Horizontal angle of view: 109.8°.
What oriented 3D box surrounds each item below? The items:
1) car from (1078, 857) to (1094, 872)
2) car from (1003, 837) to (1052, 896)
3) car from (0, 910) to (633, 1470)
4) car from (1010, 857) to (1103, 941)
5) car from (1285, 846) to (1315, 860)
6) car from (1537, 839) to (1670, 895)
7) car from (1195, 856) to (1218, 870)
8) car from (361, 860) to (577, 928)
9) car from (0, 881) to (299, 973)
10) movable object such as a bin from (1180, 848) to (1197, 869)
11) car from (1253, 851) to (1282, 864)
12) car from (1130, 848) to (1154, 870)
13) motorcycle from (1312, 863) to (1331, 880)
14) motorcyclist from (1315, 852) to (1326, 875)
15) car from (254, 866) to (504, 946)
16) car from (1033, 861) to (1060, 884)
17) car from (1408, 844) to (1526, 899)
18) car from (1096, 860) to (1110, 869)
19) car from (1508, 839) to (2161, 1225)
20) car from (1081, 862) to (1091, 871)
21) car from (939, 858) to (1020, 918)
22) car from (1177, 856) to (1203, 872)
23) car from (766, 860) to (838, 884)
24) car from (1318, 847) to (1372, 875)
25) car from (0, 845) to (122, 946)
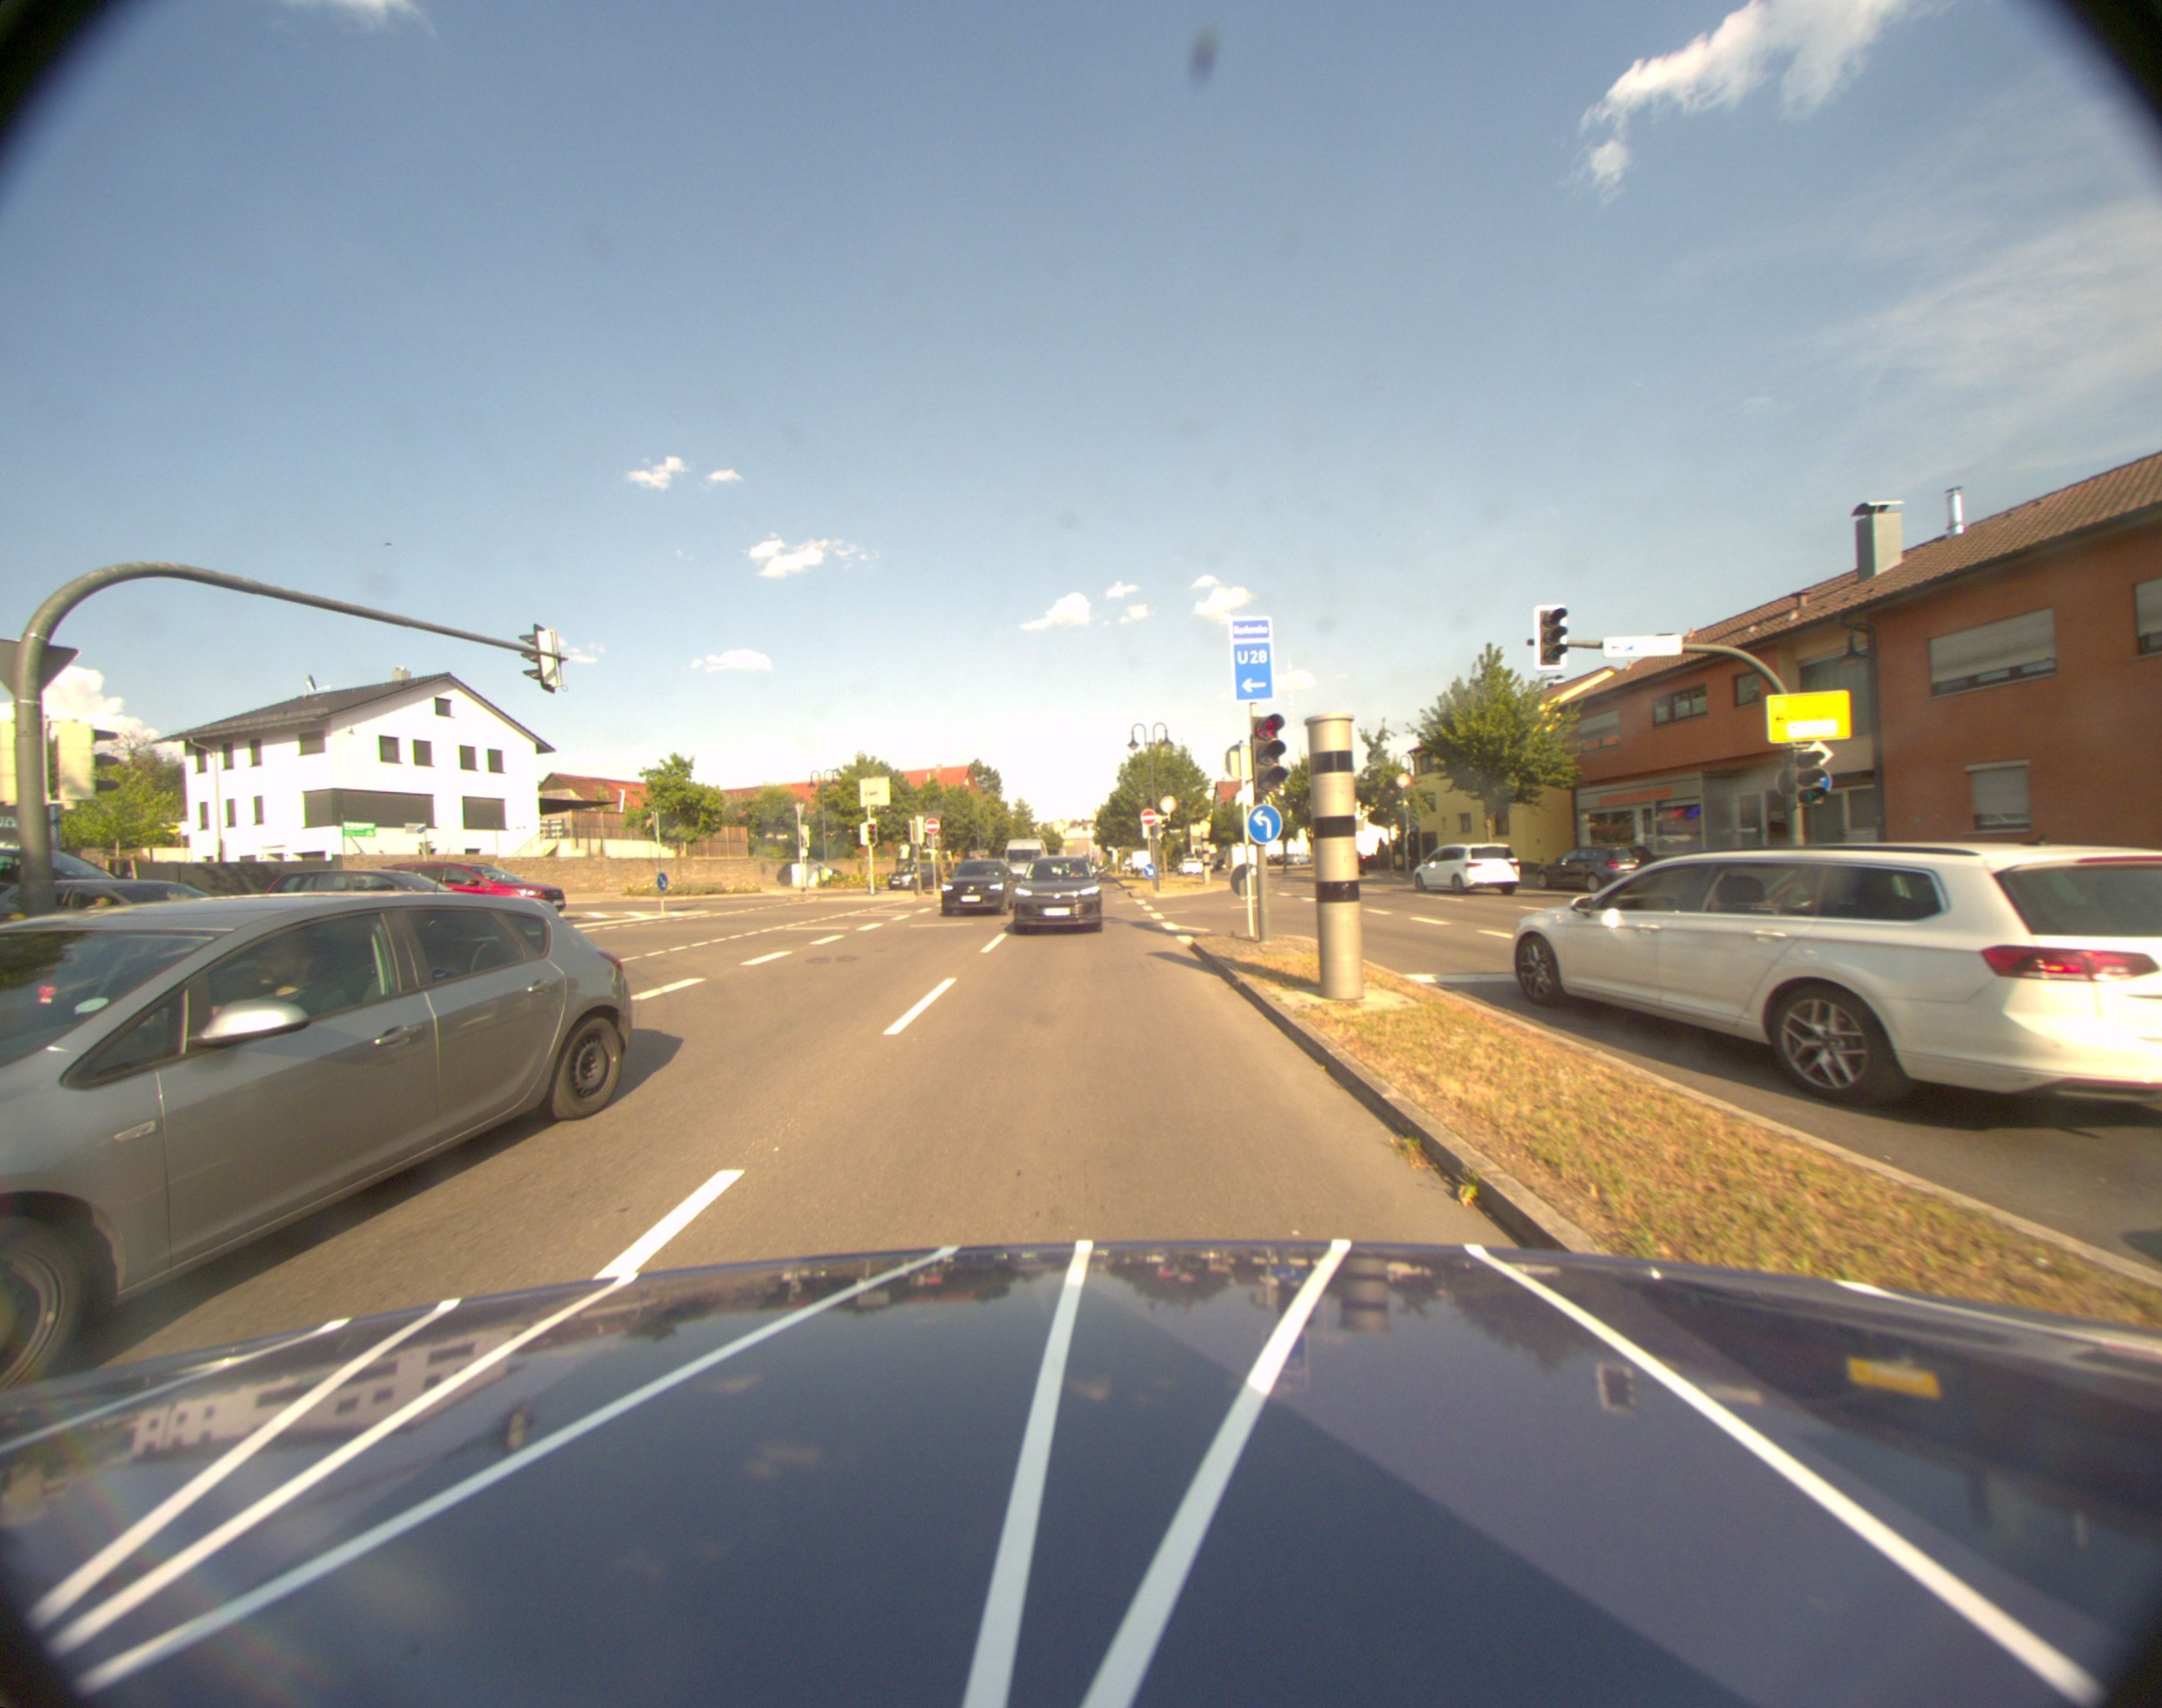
[{"bbox_3d":[0.644,1.383,97.730,1.816,1.860,4.001,-2,0,4],"label":"car"},{"bbox_3d":[-2.587,0.569,38.457,2.040,2.642,6.648,-2,0,-1],"label":"car"},{"bbox_3d":[-3.888,1.064,3.042,1.651,1.414,4.144,0,-1,1],"label":"car"},{"bbox_3d":[-0.450,0.909,16.975,1.768,1.582,4.057,-2,0,1],"label":"car"},{"bbox_3d":[25.495,-0.138,88.587,3.438,1.534,1.617,-1,-1,-38],"label":"car"},{"bbox_3d":[15.891,0.376,23.368,1.595,1.430,3.776,-6,-1,5],"label":"car"},{"bbox_3d":[13.516,0.930,81.819,1.761,1.403,4.000,-2,0,0],"label":"car"},{"bbox_3d":[-16.619,1.054,20.837,4.251,1.616,1.861,-2,0,-5],"label":"car"},{"bbox_3d":[-16.583,1.248,13.473,3.608,1.441,1.626,0,1,-3],"label":"car"},{"bbox_3d":[13.500,0.565,95.625,1.556,2.447,4.978,-1,0,2],"label":"movable object such as a bin"},{"bbox_3d":[22.844,0.416,92.985,3.417,1.616,1.857,0,0,-41],"label":"car"},{"bbox_3d":[7.012,0.574,88.117,2.090,2.461,5.478,-2,0,-2],"label":"car"},{"bbox_3d":[12.785,0.929,40.413,0.413,0.855,1.763,-2,0,0],"label":"motorcycle"},{"bbox_3d":[12.770,0.488,40.448,0.404,1.221,0.461,-2,0,-2],"label":"motorcyclist"},{"bbox_3d":[-15.425,1.109,16.883,3.798,1.533,1.597,-2,0,-8],"label":"car"},{"bbox_3d":[-2.595,1.390,57.873,1.768,1.582,4.057,-2,0,1],"label":"car"},{"bbox_3d":[12.733,0.539,25.407,1.690,1.602,4.413,-2,0,1],"label":"car"},{"bbox_3d":[3.955,1.885,136.762,1.781,1.516,3.843,-2,0,11],"label":"car"},{"bbox_3d":[5.130,0.694,5.217,1.839,1.479,4.566,-2,0,1],"label":"car"},{"bbox_3d":[0.838,2.062,127.816,1.530,1.353,2.793,-2,0,4],"label":"car"},{"bbox_3d":[-2.948,0.952,22.855,1.792,1.596,4.057,-2,0,1],"label":"car"},{"bbox_3d":[9.725,0.890,67.887,1.761,1.403,4.000,-2,0,0],"label":"car"},{"bbox_3d":[-17.891,1.146,48.773,4.072,1.447,1.680,-2,0,13],"label":"car"},{"bbox_3d":[15.757,0.421,45.656,1.859,1.586,4.461,-2,0,3],"label":"car"},{"bbox_3d":[-22.822,0.870,14.518,5.187,1.920,1.995,-2,0,-33],"label":"car"}]
